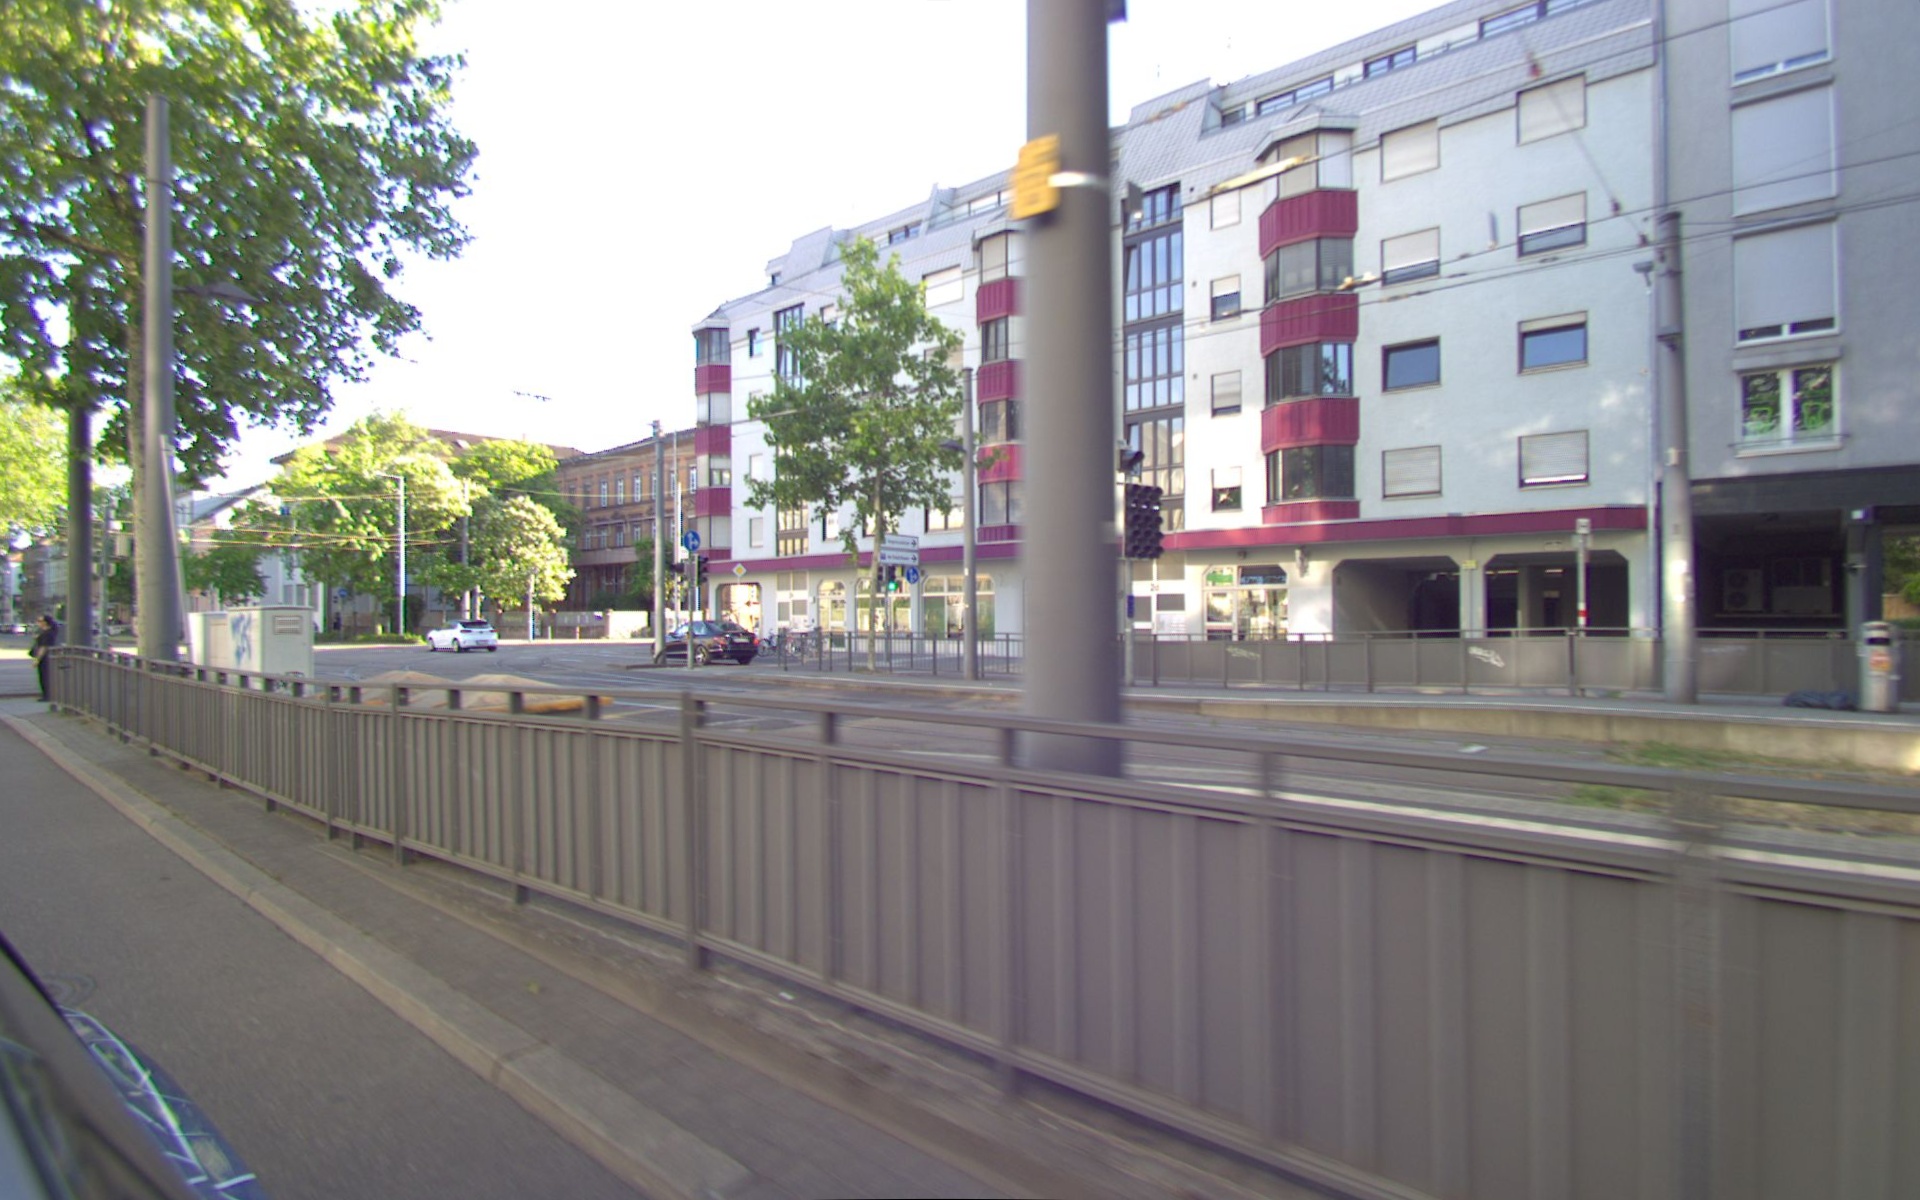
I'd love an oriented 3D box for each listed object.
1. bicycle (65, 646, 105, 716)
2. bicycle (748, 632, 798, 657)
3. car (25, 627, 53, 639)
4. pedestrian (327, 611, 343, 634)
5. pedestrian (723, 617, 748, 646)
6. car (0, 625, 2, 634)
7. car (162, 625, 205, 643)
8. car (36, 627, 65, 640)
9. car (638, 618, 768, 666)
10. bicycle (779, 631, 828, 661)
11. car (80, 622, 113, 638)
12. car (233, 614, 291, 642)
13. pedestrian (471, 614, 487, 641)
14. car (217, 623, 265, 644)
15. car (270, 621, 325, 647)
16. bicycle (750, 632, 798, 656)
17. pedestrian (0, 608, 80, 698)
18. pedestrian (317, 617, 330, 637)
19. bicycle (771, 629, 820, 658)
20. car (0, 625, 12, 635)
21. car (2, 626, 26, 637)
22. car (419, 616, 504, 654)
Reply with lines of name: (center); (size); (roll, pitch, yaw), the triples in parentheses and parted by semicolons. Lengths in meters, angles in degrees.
bicycle: (-12.591, 1.160, 14.559); (0.391, 0.956, 1.352); (1, -4, -42)
bicycle: (-6.857, 1.636, 37.169); (0.553, 0.860, 1.822); (-2, -2, 44)
car: (-128.438, 4.596, 141.129); (5.099, 1.551, 2.062); (-1, 1, 39)
pedestrian: (-47.771, 1.717, 77.354); (1.019, 1.765, 0.726); (-2, -2, 39)
pedestrian: (-10.627, 1.485, 47.889); (0.834, 1.395, 0.850); (-1, -2, 32)
car: (-166.624, 5.077, 174.119); (4.116, 1.551, 2.062); (-1, 1, 39)
car: (-69.830, 3.054, 90.995); (4.574, 1.481, 2.062); (-1, 1, 39)
car: (-118.844, 4.325, 132.205); (4.511, 1.551, 2.062); (-1, 1, 39)
car: (-8.335, 1.313, 32.641); (4.647, 1.410, 1.683); (-1, -1, 40)
bicycle: (-5.525, 1.616, 35.837); (0.553, 0.992, 1.824); (-1, -2, 39)
car: (-100.827, 3.518, 118.172); (4.528, 1.686, 2.062); (-1, 1, 39)
car: (-43.097, 1.737, 62.497); (4.257, 1.685, 1.935); (-2, -2, 41)
pedestrian: (-30.307, 1.737, 63.722); (0.625, 1.677, 0.567); (-2, 1, 13)
car: (-56.929, 2.618, 80.075); (3.993, 1.501, 2.062); (-1, 1, 39)
car: (-47.038, 2.404, 71.831); (4.093, 1.631, 2.062); (-1, 1, 39)
bicycle: (-6.998, 1.652, 38.100); (0.553, 0.860, 1.822); (-2, -2, 44)
pedestrian: (-16.468, 0.933, 18.071); (1.031, 1.556, 0.696); (0, -2, -33)
pedestrian: (-47.450, 2.013, 75.441); (0.710, 1.540, 0.531); (-1, -2, 35)
bicycle: (-5.897, 1.544, 36.335); (0.553, 0.992, 1.824); (-1, -2, 39)
car: (-155.259, 4.835, 163.804); (4.005, 1.551, 2.062); (-1, 1, 39)
car: (-147.151, 4.917, 157.425); (4.251, 1.551, 2.062); (-1, 1, 39)
car: (-22.099, 1.540, 44.770); (4.259, 1.607, 1.934); (-2, -2, 42)
